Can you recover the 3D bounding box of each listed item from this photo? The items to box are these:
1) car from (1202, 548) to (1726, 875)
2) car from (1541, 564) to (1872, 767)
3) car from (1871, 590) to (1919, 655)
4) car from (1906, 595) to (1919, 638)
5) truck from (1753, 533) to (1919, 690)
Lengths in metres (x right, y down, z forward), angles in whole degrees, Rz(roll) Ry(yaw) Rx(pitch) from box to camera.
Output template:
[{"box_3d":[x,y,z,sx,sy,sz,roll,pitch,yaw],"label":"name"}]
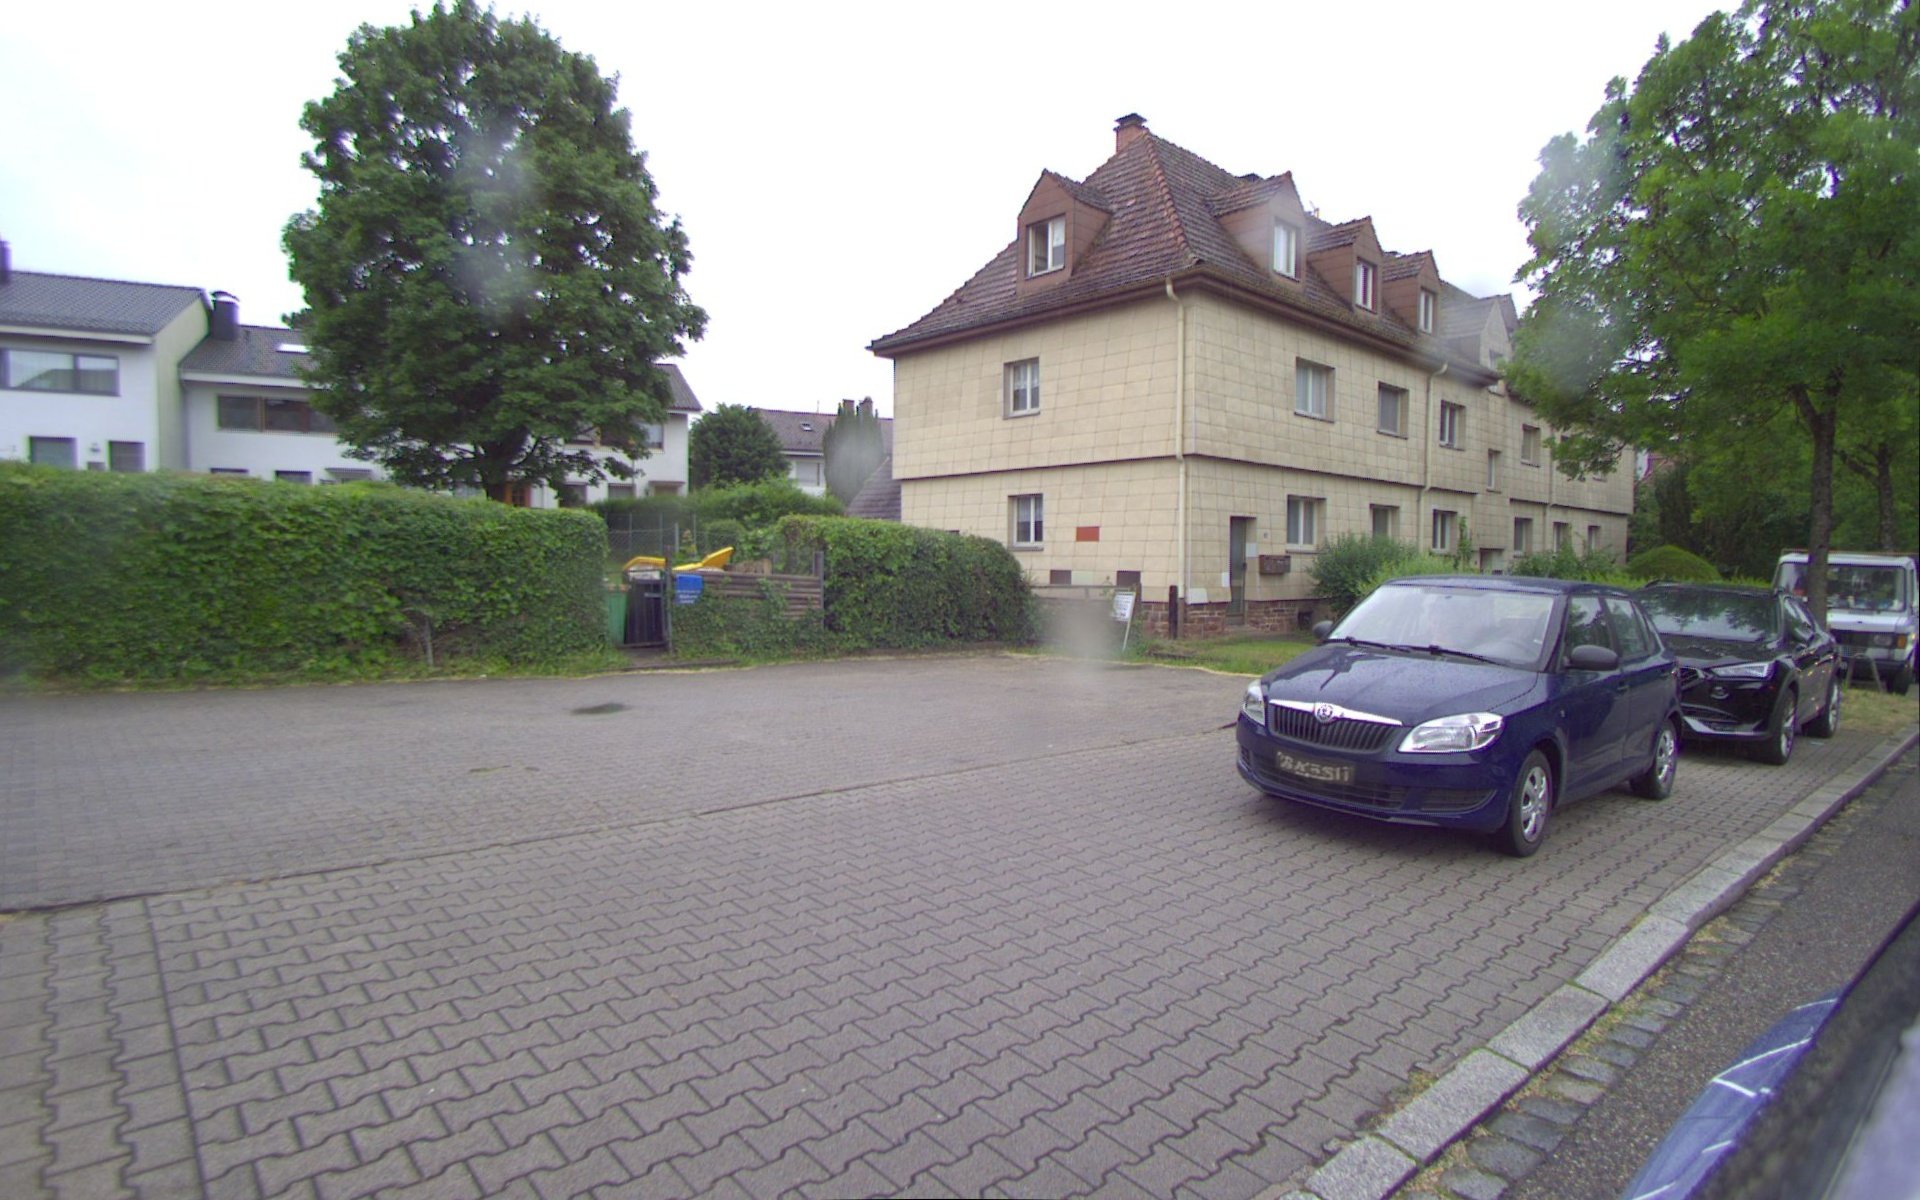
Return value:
[{"box_3d":[3.401,0.499,6.526,3.787,1.490,1.608,0,3,-40],"label":"car"},{"box_3d":[7.454,0.501,9.953,4.111,1.516,1.718,0,4,-42],"label":"car"},{"box_3d":[23.929,0.613,24.995,3.951,1.453,1.605,3,3,-42],"label":"car"},{"box_3d":[33.545,0.587,34.370,4.423,1.406,1.691,0,4,-43],"label":"car"},{"box_3d":[15.887,0.135,17.703,6.391,2.248,2.084,0,4,-43],"label":"truck"}]
